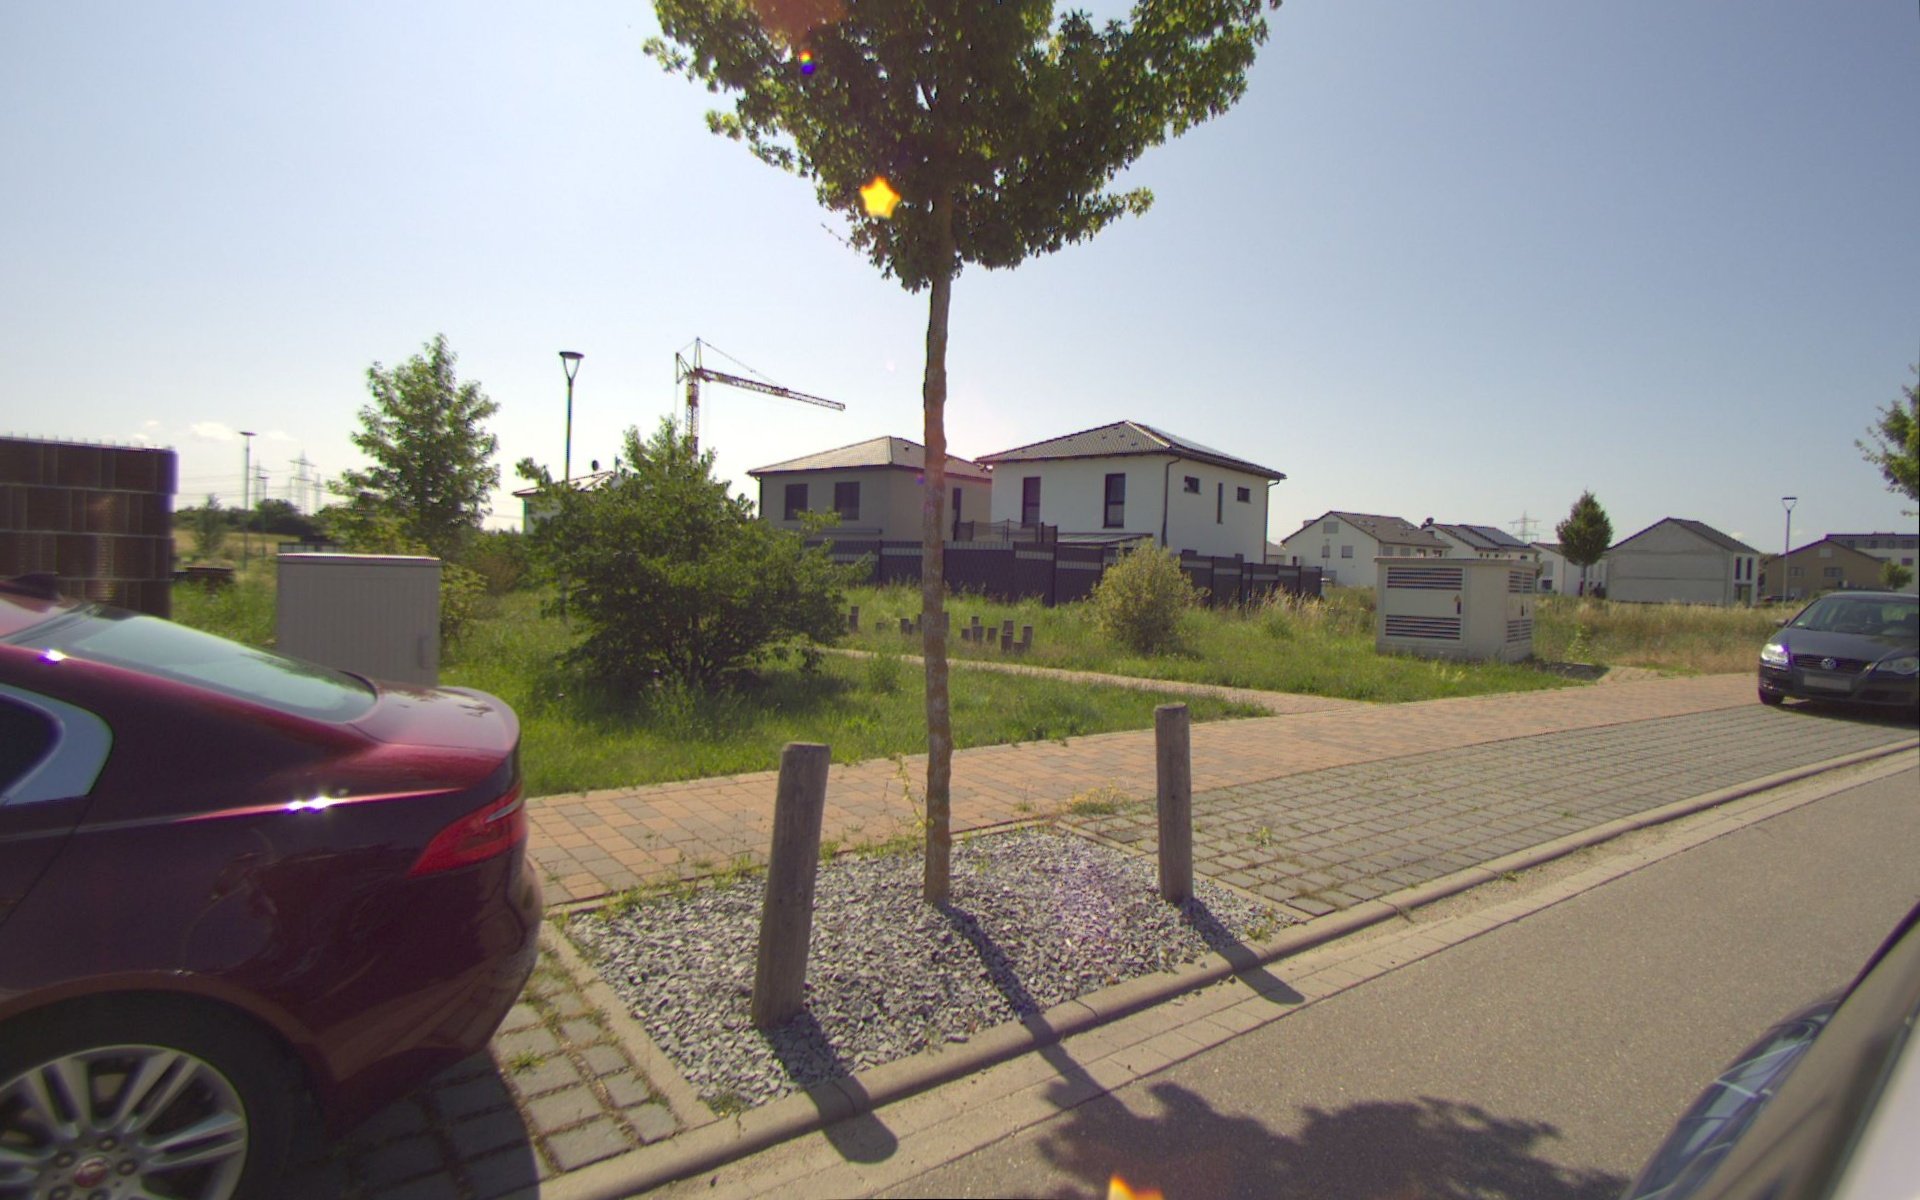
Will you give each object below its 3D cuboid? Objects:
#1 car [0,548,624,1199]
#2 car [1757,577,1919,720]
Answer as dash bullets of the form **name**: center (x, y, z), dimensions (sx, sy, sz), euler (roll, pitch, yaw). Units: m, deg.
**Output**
- **car**: center (-3.112, 0.574, 1.710), dimensions (4.493, 1.380, 1.759), euler (0, 2, -39)
- **car**: center (11.673, 0.538, 12.743), dimensions (3.606, 1.493, 1.604), euler (1, 4, -37)
